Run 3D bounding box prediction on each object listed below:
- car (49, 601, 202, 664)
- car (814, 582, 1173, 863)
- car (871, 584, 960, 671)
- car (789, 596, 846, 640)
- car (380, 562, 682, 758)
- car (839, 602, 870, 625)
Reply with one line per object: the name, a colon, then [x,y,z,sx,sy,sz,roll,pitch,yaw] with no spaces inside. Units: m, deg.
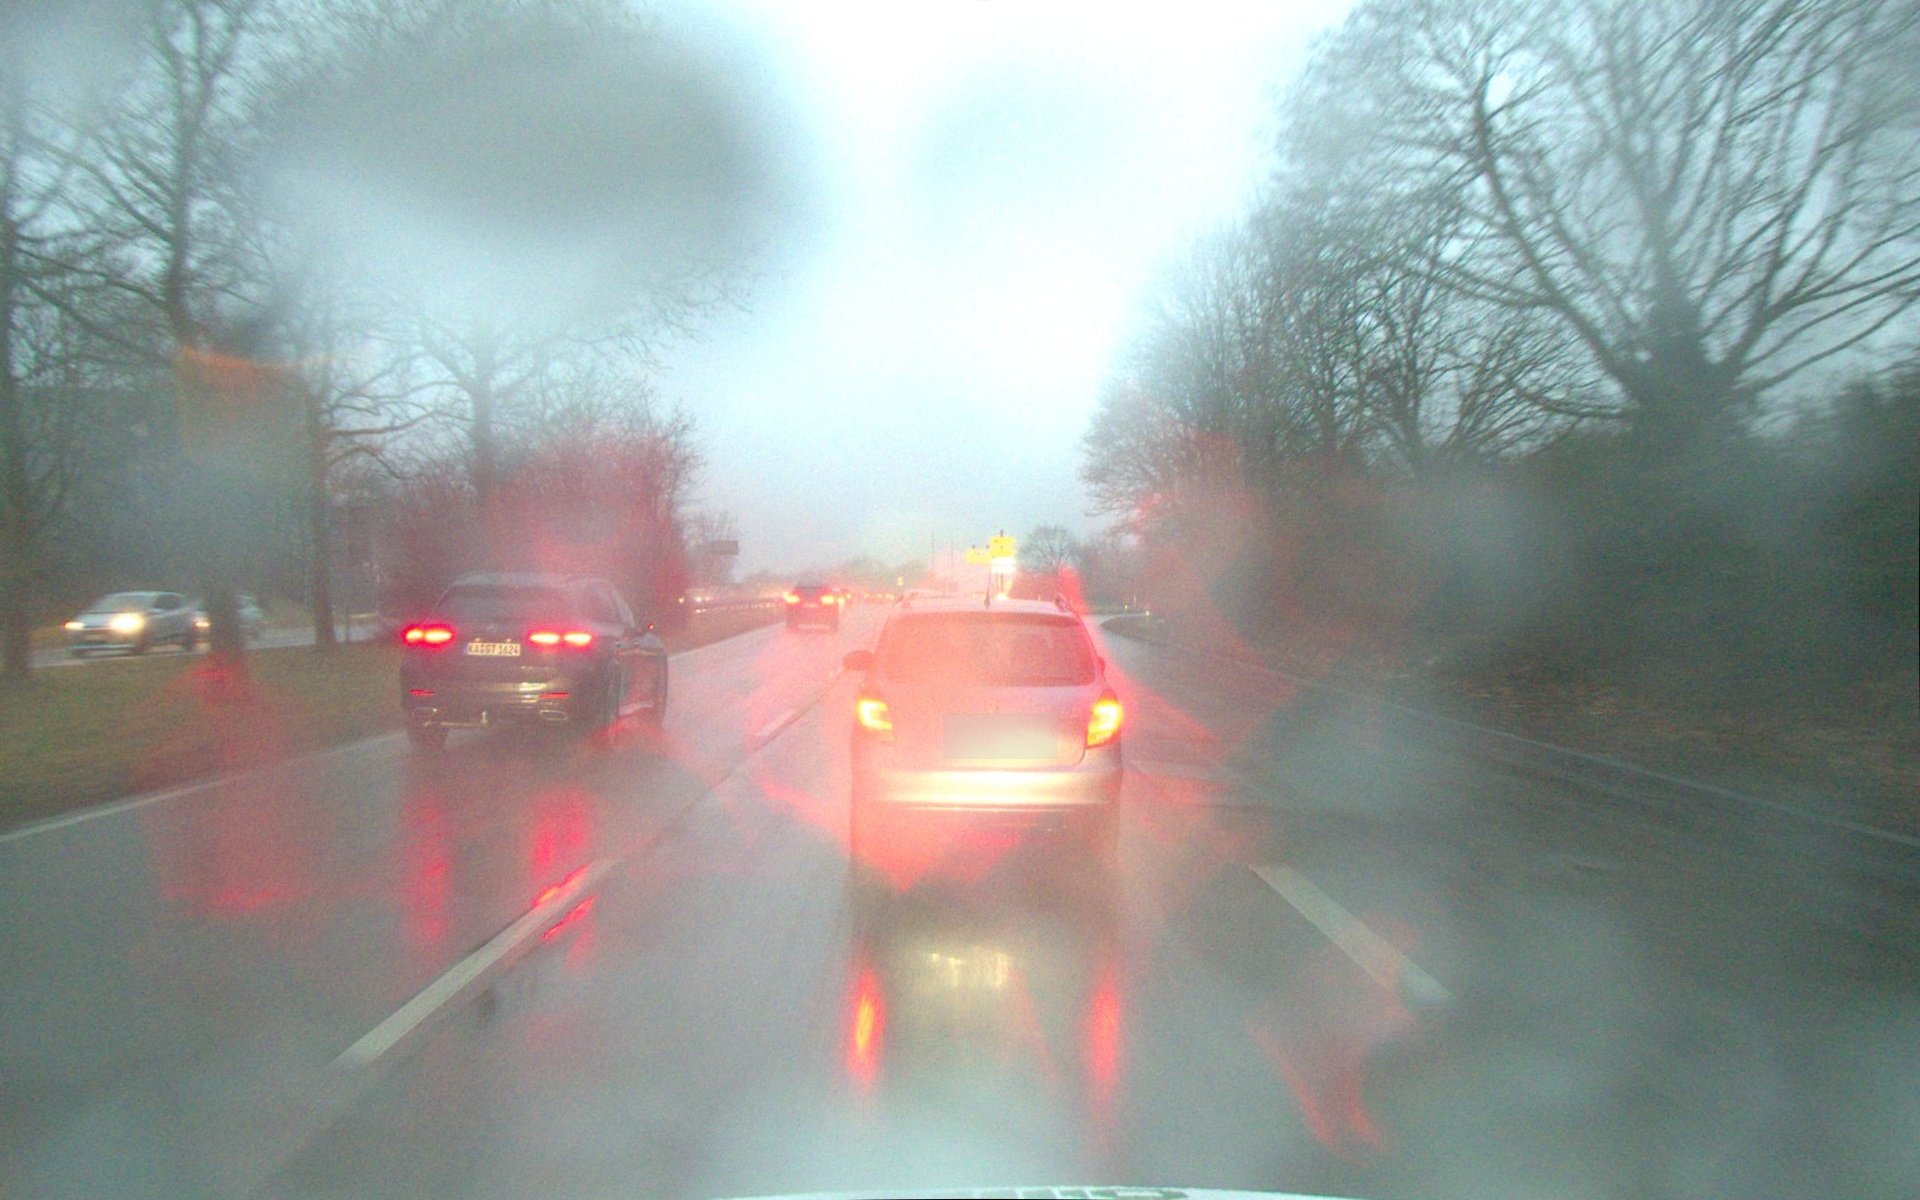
car: [-20.092,0.761,40.013,1.713,1.450,3.977,0,0,-1]
car: [0.169,0.683,11.103,1.953,1.527,4.137,0,0,-1]
car: [-0.937,0.572,36.622,1.858,1.798,4.308,0,0,-1]
car: [-5.145,0.630,60.189,1.753,1.572,3.999,0,0,-1]
car: [-4.031,0.521,16.321,1.953,1.629,4.306,2,0,-2]
car: [-6.938,0.877,109.070,1.753,1.509,3.999,-1,0,-1]
